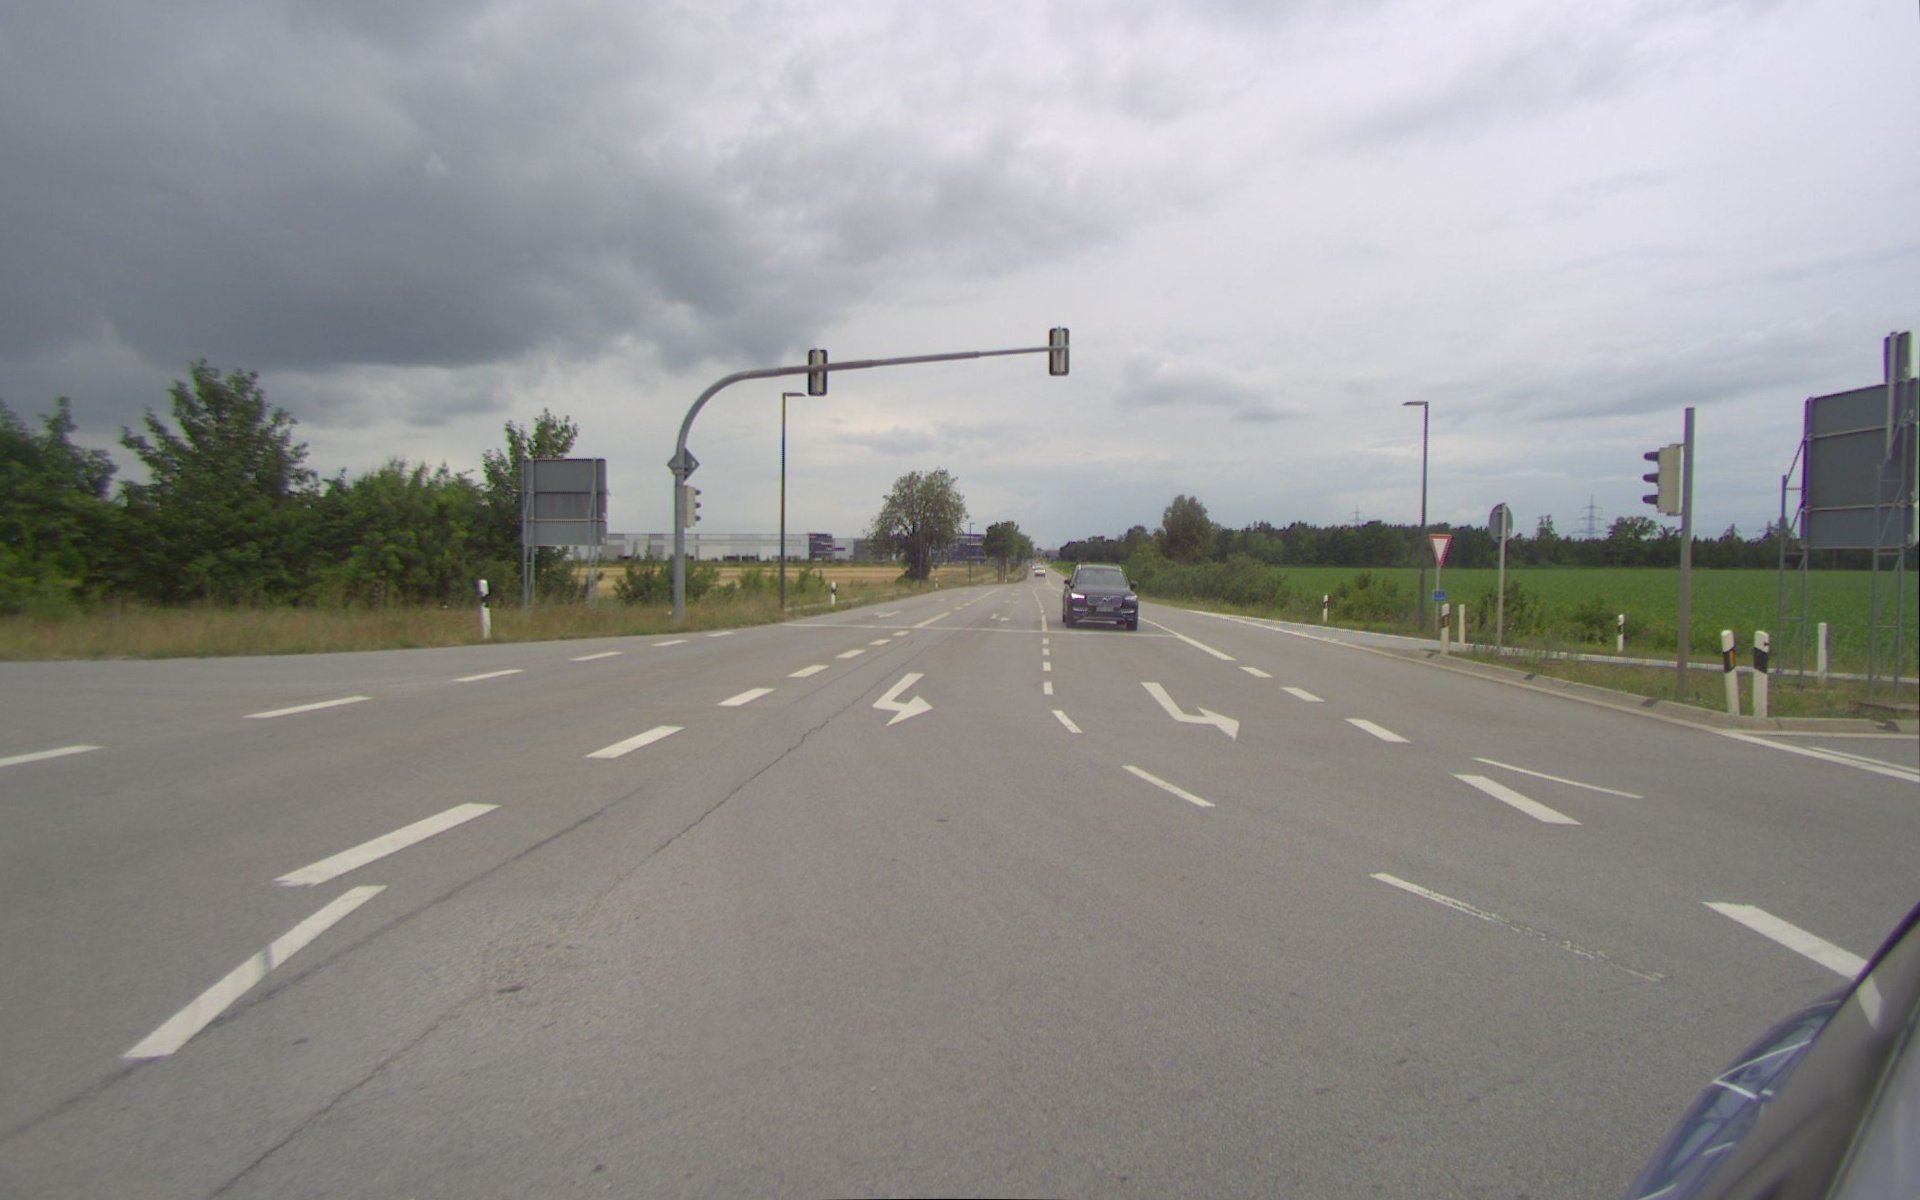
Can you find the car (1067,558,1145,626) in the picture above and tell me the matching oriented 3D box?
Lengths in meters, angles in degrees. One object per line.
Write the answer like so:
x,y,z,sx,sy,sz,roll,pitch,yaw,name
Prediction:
4.213,-0.296,28.703,1.968,1.704,4.986,1,2,10,car
